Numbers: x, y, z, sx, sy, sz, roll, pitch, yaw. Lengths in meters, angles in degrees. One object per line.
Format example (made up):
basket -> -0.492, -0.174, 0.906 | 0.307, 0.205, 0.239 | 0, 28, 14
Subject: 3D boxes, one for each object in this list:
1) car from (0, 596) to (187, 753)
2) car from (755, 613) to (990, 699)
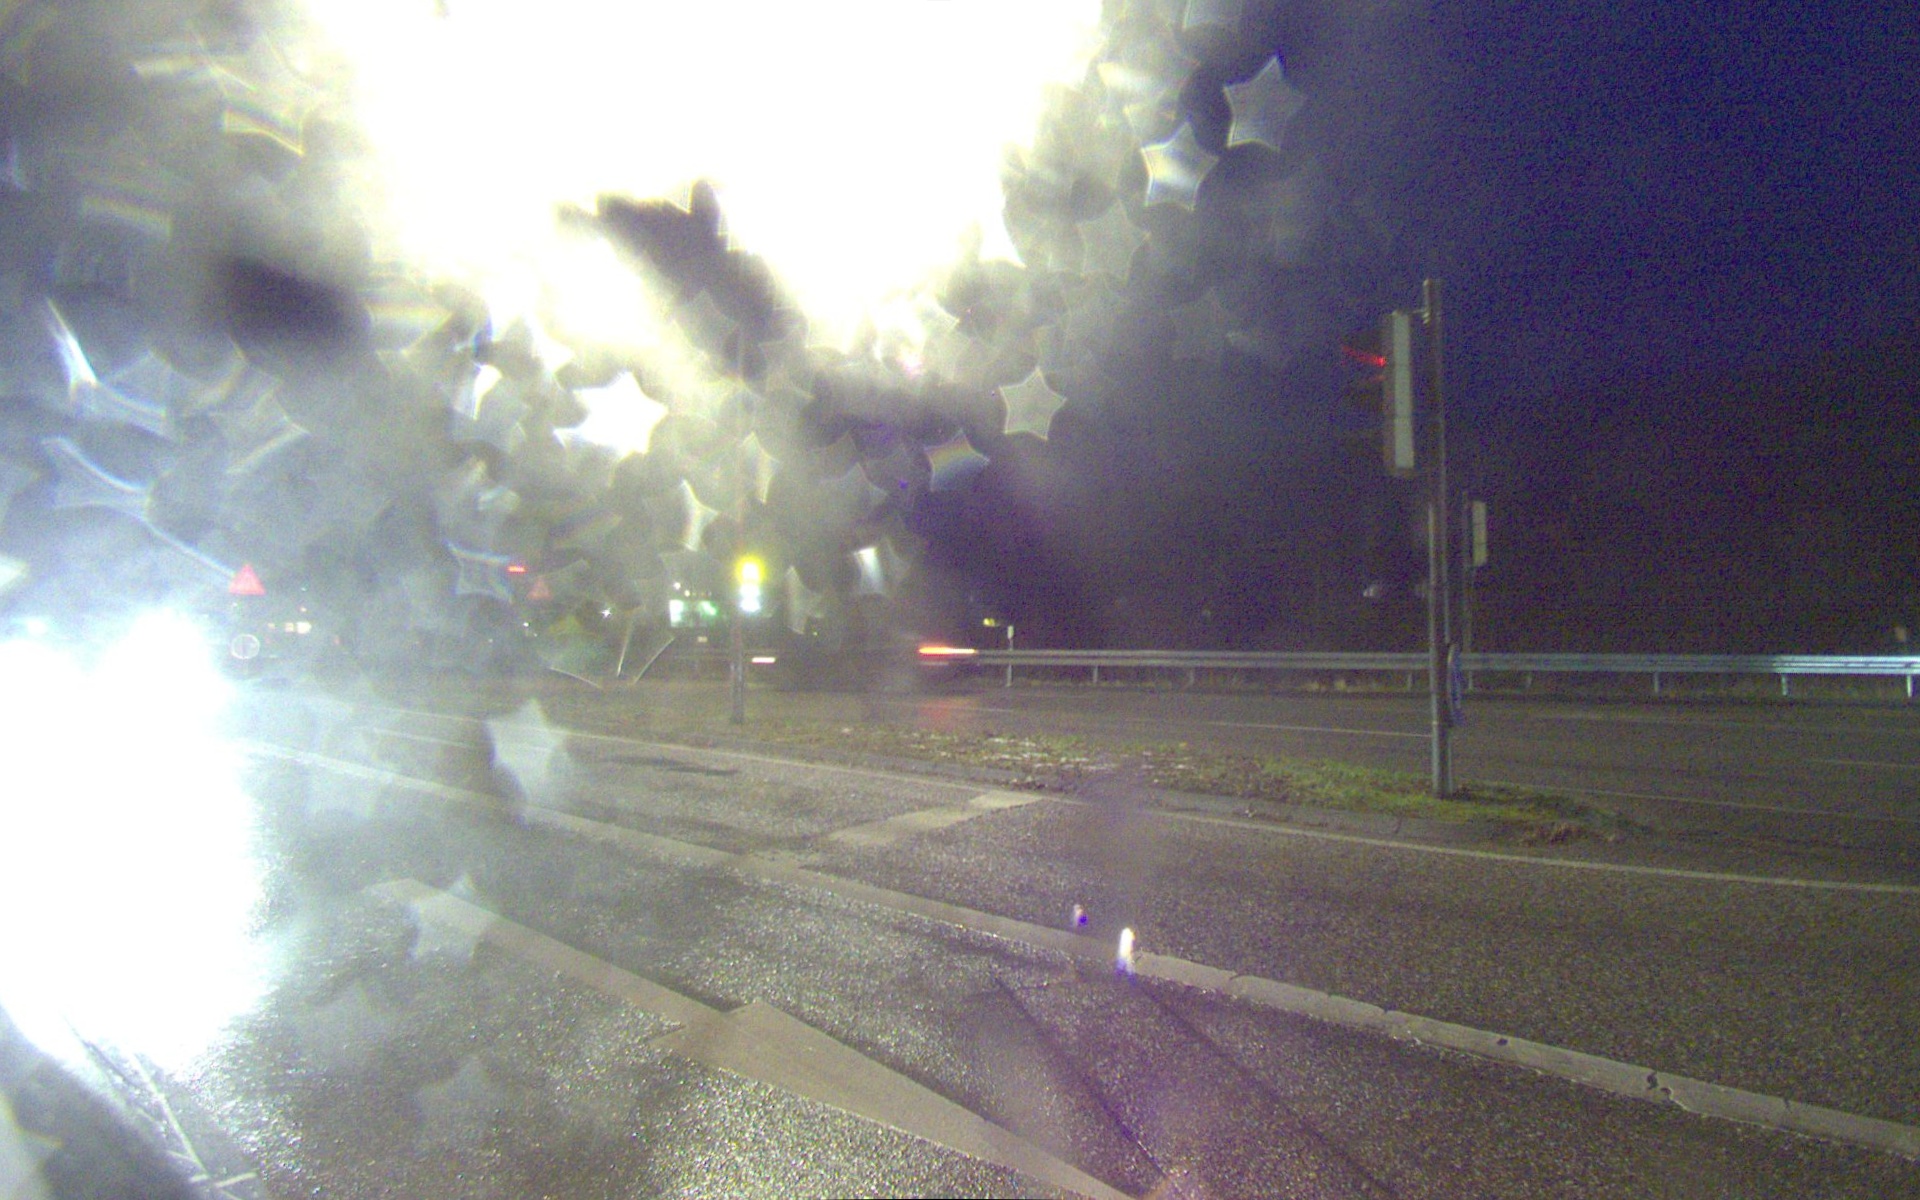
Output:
car -> -11.894, 0.867, 13.207 | 4.935, 1.717, 1.890 | -1, -2, 41
car -> -1.730, 1.058, 19.749 | 4.353, 1.510, 1.643 | 0, -3, 27
